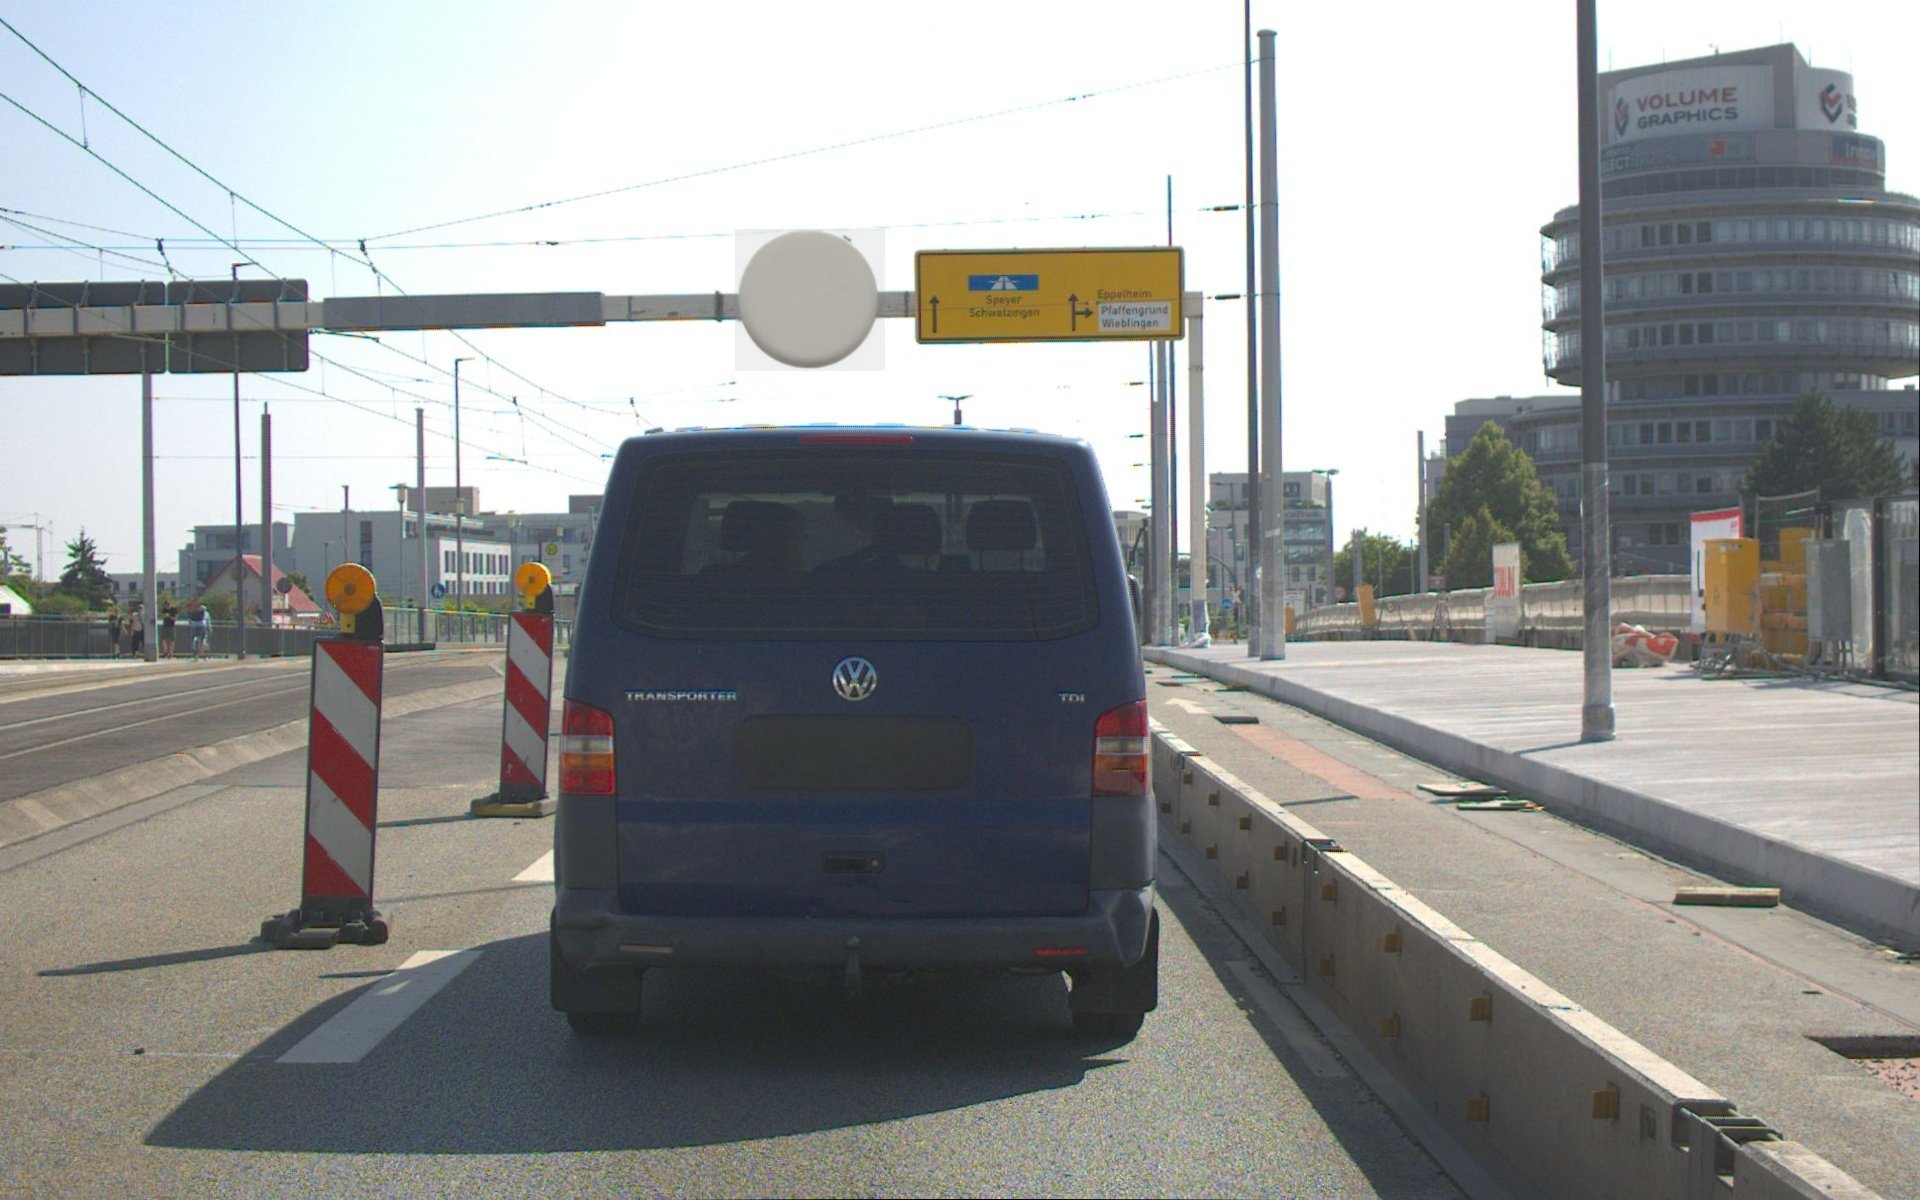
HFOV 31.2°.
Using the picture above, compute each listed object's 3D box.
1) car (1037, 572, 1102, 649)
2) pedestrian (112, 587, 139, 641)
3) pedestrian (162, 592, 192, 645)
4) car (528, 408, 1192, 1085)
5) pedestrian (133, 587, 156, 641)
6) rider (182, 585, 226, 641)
[{"bbox_3d":[4.156,0.383,131.507,2.339,2.877,5.970,1,0,1],"label":"car"},{"bbox_3d":[-25.857,0.432,106.497,0.597,1.681,0.817,-1,0,3],"label":"pedestrian"},{"bbox_3d":[-24.992,0.601,109.774,0.753,1.681,0.731,-1,0,3],"label":"pedestrian"},{"bbox_3d":[-0.310,0.423,11.957,1.888,1.927,4.000,1,0,-1],"label":"car"},{"bbox_3d":[-25.333,0.437,106.815,0.486,1.681,0.808,-1,0,3],"label":"pedestrian"},{"bbox_3d":[-23.634,0.404,107.516,0.763,1.727,2.952,0,0,-1],"label":"rider"}]
